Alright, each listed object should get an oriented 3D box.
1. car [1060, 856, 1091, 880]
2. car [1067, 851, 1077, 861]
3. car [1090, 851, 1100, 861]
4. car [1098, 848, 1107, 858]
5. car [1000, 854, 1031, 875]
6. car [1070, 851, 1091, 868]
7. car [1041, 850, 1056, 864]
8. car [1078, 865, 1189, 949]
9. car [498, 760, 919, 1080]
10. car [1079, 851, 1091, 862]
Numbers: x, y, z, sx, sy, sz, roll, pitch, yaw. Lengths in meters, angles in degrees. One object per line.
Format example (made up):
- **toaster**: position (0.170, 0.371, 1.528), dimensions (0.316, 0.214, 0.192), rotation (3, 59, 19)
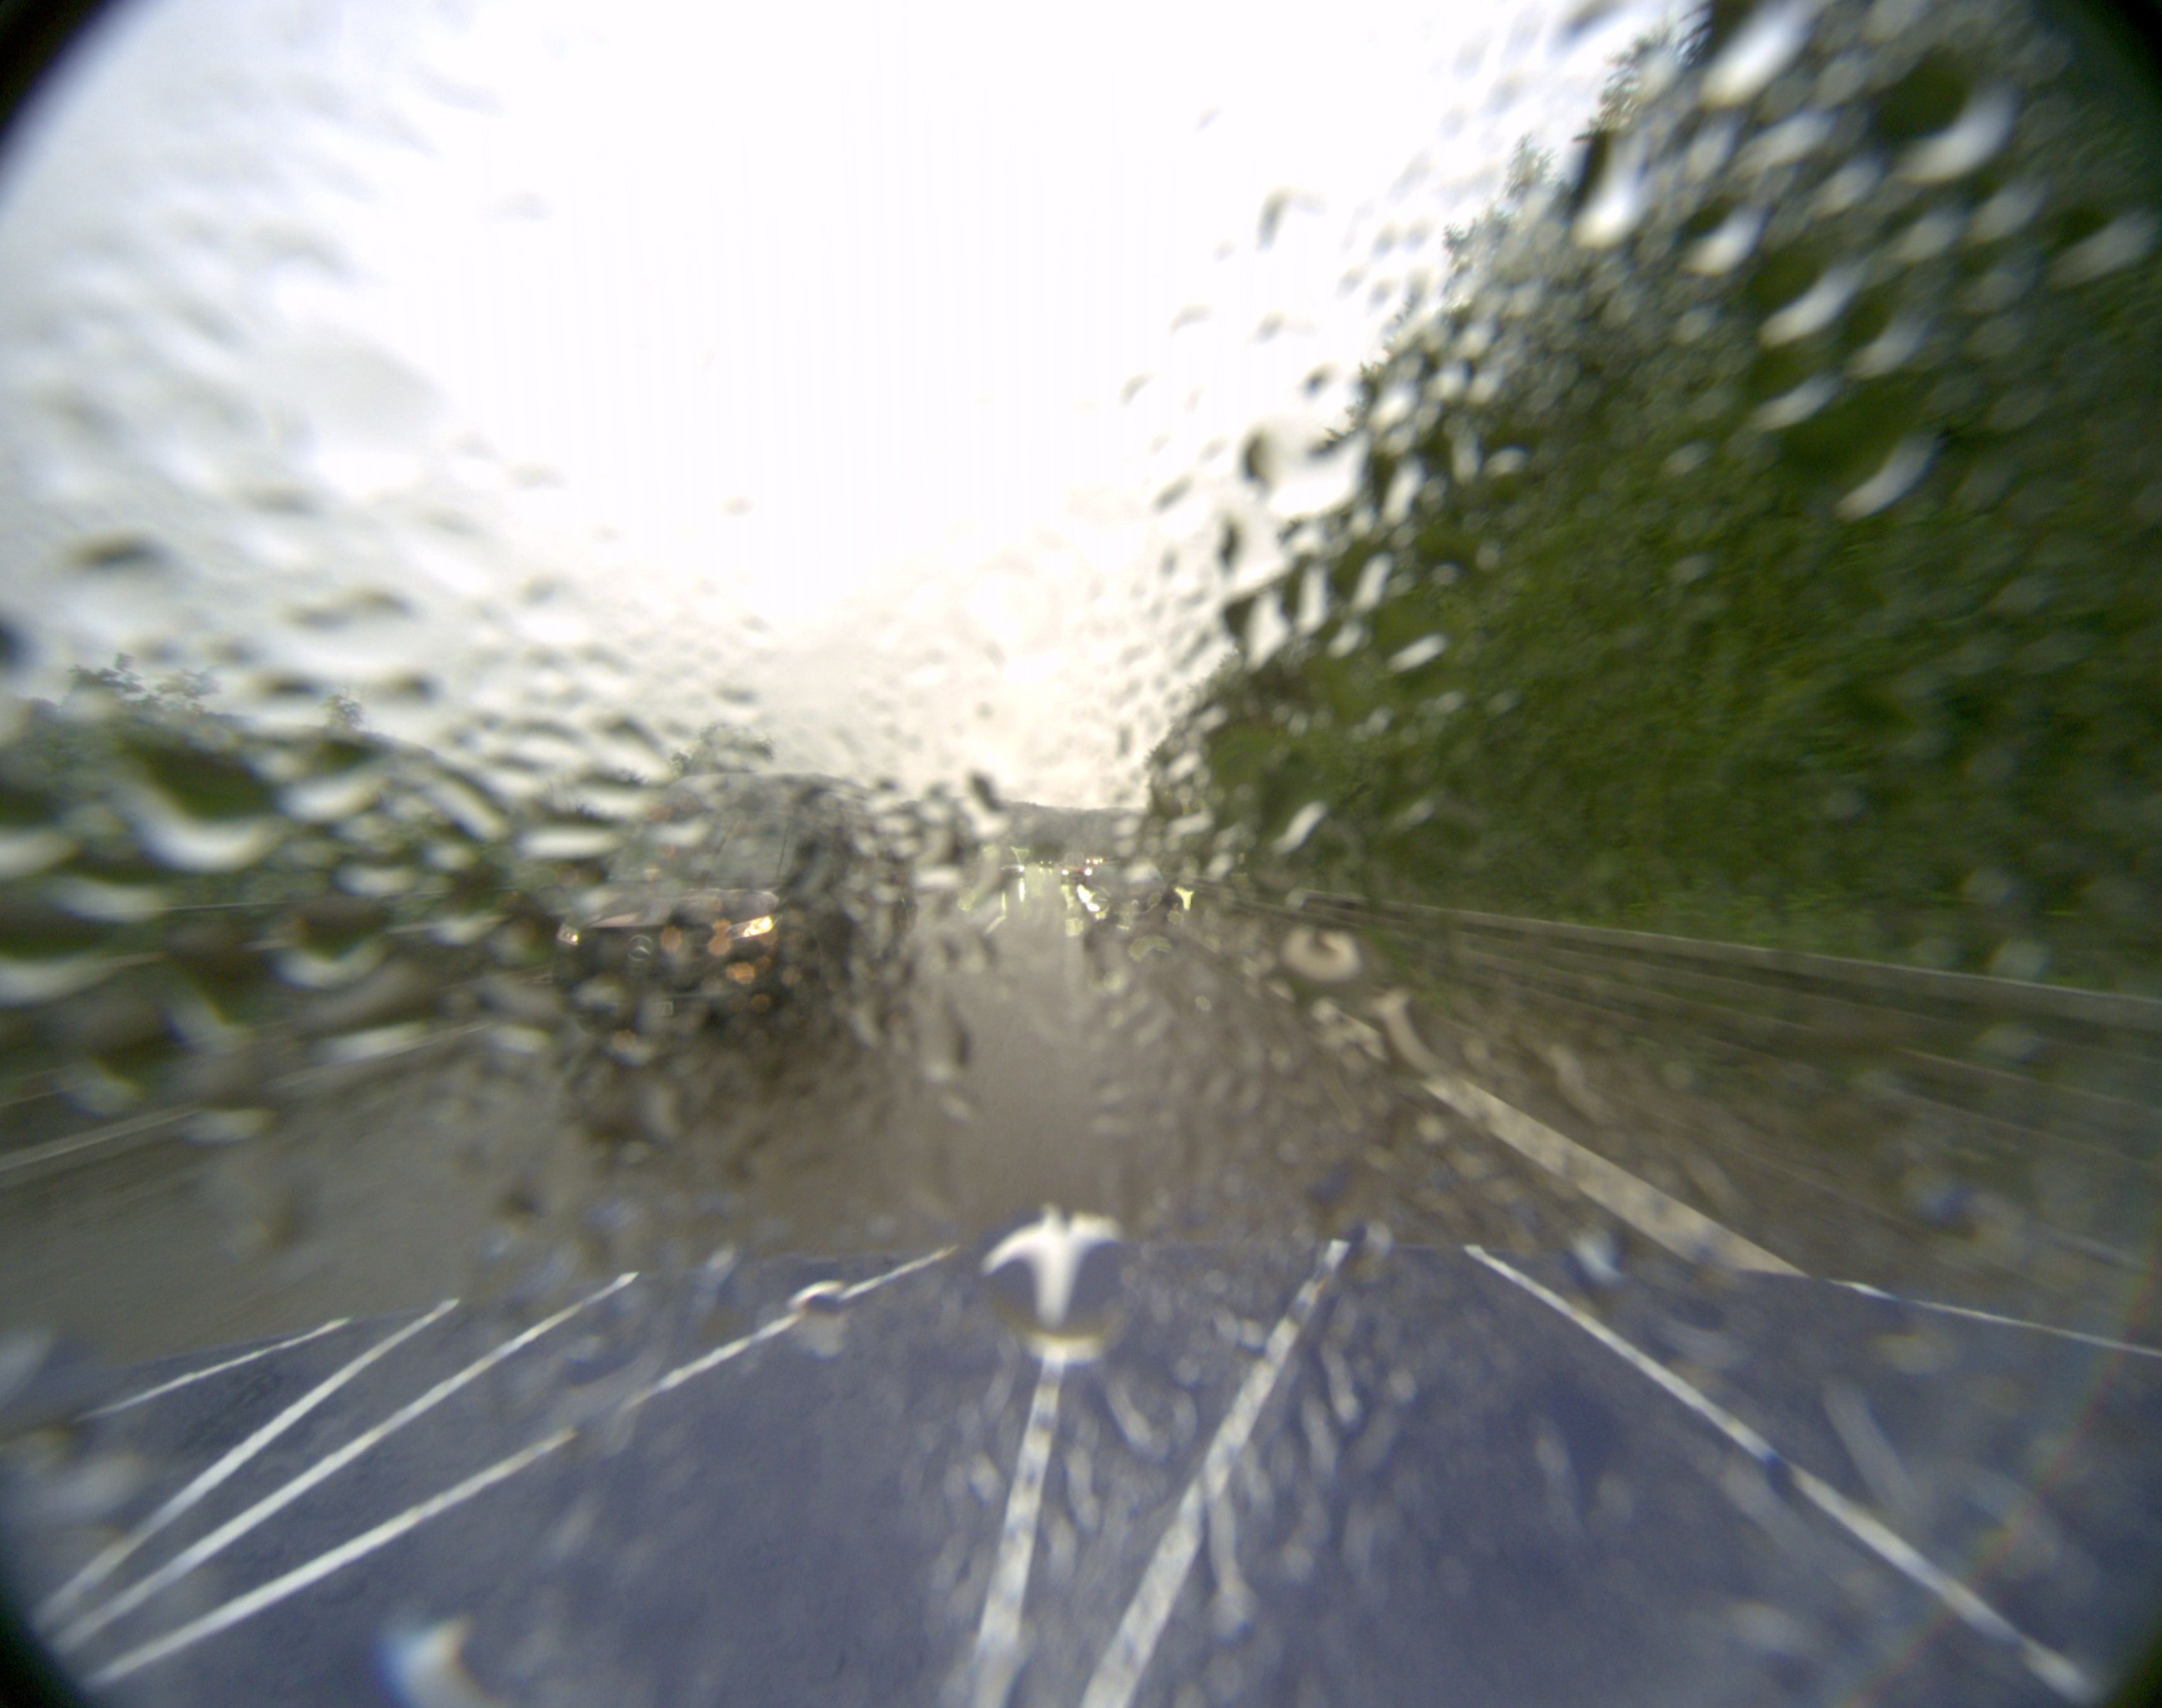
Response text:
- **car**: position (-0.352, 0.790, 45.399), dimensions (1.713, 1.316, 3.944), rotation (0, 1, -1)
- **car**: position (-1.548, 0.285, 132.650), dimensions (1.710, 1.609, 3.342), rotation (2, 1, 0)
- **car**: position (2.462, 0.298, 129.981), dimensions (1.624, 1.713, 3.413), rotation (2, 1, 2)
- **car**: position (4.366, -0.163, 154.234), dimensions (1.825, 2.002, 3.872), rotation (2, 1, 2)
- **car**: position (-4.991, 0.786, 58.531), dimensions (1.990, 1.407, 4.563), rotation (-2, 0, 0)
- **car**: position (-0.050, 0.511, 73.672), dimensions (1.906, 1.545, 4.564), rotation (-2, 0, 1)
- **car**: position (-4.284, 0.368, 99.956), dimensions (1.765, 1.851, 3.767), rotation (-2, 0, 0)
- **car**: position (0.914, 0.945, 15.278), dimensions (1.839, 1.316, 4.134), rotation (-2, 1, -1)
- **car**: position (-3.626, 0.502, 9.328), dimensions (1.999, 2.480, 6.703), rotation (-1, 0, -2)
- **car**: position (0.570, 0.293, 112.715), dimensions (1.658, 1.535, 3.664), rotation (-2, 0, 1)
